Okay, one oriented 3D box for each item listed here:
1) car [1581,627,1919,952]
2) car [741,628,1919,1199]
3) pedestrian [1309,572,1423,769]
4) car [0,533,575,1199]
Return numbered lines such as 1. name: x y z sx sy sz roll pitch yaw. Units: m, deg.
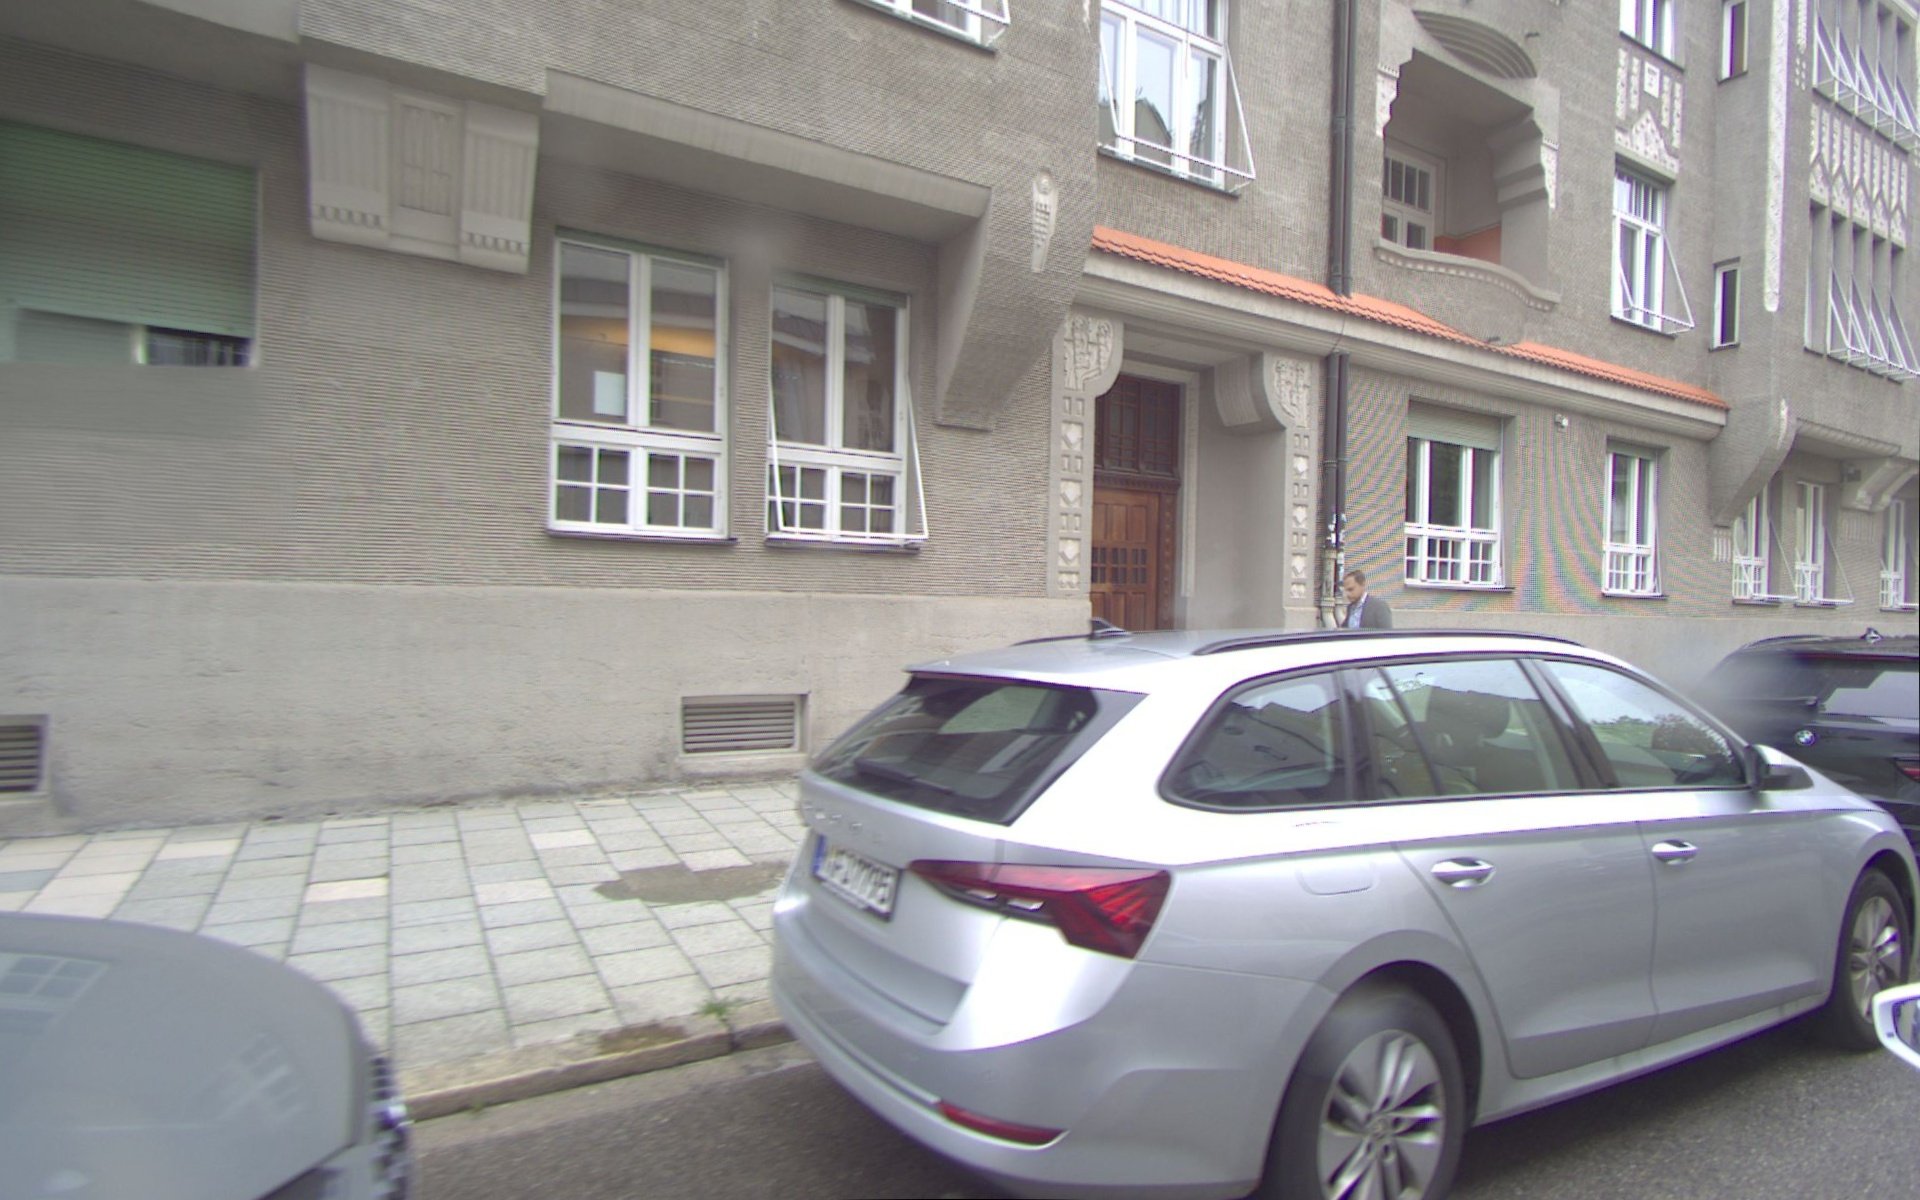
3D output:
1. car: 6.184 0.948 6.351 4.726 1.467 1.983 1 -1 -32
2. car: 1.621 0.842 3.607 4.385 1.450 1.798 1 -2 -29
3. pedestrian: 3.978 0.664 9.869 0.722 1.841 0.713 1 0 -31
4. car: -2.823 0.671 0.615 4.558 1.533 1.826 1 -1 -33
